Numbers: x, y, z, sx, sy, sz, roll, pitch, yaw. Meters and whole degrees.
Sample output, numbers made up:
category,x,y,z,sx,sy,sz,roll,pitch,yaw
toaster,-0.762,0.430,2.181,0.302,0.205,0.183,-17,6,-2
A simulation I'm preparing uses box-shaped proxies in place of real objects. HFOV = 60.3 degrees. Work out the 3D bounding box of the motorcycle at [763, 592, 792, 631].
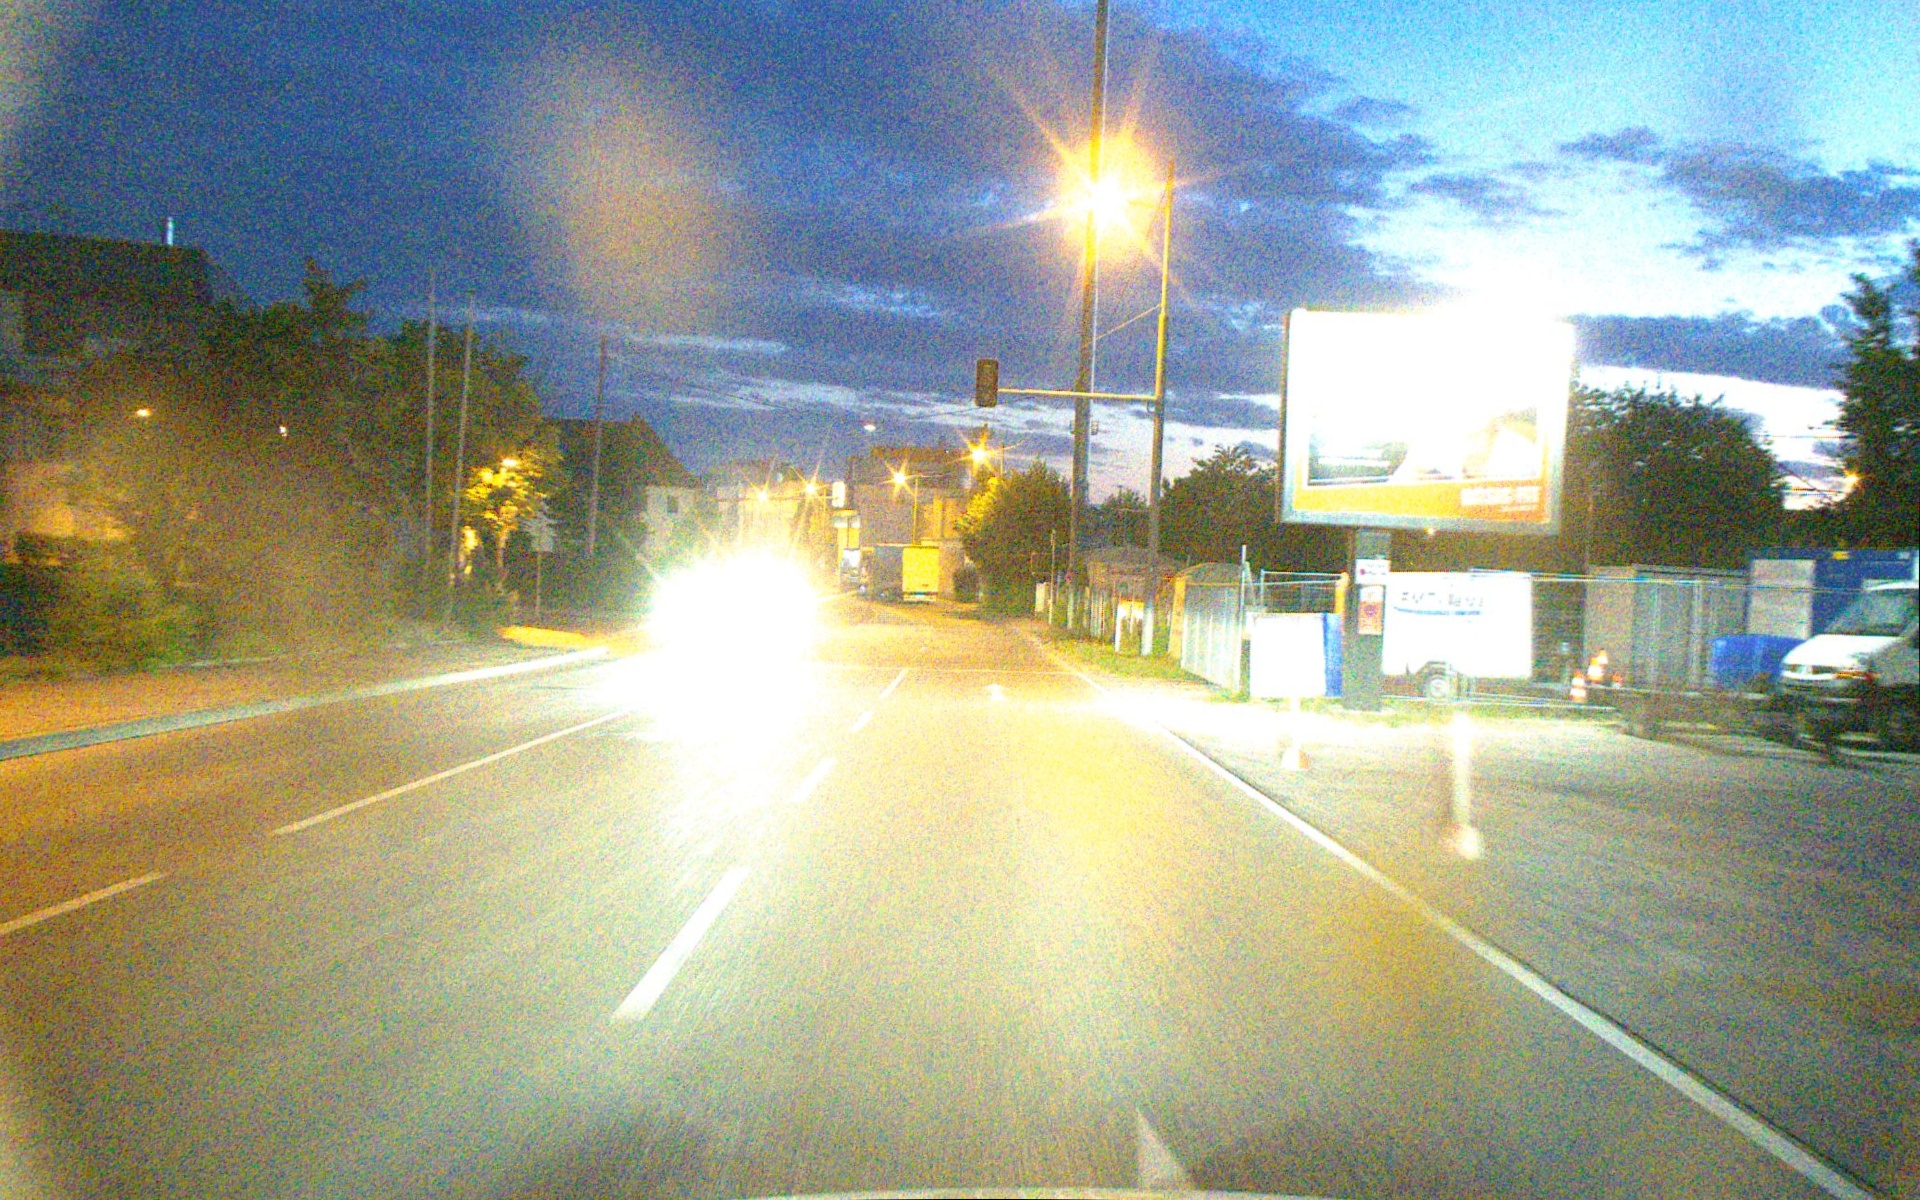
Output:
category,x,y,z,sx,sy,sz,roll,pitch,yaw
motorcycle,-6.588,0.407,59.704,0.978,1.327,2.823,2,0,-6

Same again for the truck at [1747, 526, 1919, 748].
category,x,y,z,sx,sy,sz,roll,pitch,yaw
truck,13.450,0.535,21.270,5.419,2.645,2.472,2,0,-2

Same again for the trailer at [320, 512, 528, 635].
category,x,y,z,sx,sy,sz,roll,pitch,yaw
trailer,-12.639,-0.630,39.195,4.260,2.767,2.000,1,1,-1

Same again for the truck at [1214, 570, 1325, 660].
category,x,y,z,sx,sy,sz,roll,pitch,yaw
truck,9.498,0.399,51.457,2.138,2.465,7.317,3,1,1

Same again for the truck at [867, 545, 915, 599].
category,x,y,z,sx,sy,sz,roll,pitch,yaw
truck,-5.362,-2.171,127.862,2.779,4.052,6.035,1,1,-11

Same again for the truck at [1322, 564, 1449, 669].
category,x,y,z,sx,sy,sz,roll,pitch,yaw
truck,12.587,0.432,49.473,2.138,2.796,7.319,3,0,3

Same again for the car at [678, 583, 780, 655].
category,x,y,z,sx,sy,sz,roll,pitch,yaw
car,-5.795,0.439,42.012,1.953,1.655,4.751,2,0,-1

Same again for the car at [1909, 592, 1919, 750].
category,x,y,z,sx,sy,sz,roll,pitch,yaw
car,13.822,0.949,18.689,4.968,1.868,1.990,2,0,2

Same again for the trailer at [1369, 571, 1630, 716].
category,x,y,z,sx,sy,sz,roll,pitch,yaw
trailer,8.338,0.614,25.569,3.671,2.048,1.614,1,1,24

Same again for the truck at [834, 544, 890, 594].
category,x,y,z,sx,sy,sz,roll,pitch,yaw
truck,-8.262,-2.616,138.243,2.782,4.052,10.306,1,1,-14

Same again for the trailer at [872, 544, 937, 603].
category,x,y,z,sx,sy,sz,roll,pitch,yaw
trailer,-4.188,-2.014,121.484,2.758,4.052,13.942,1,1,-10

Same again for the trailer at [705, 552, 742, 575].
category,x,y,z,sx,sy,sz,roll,pitch,yaw
trailer,-30.538,-4.716,213.146,3.133,2.796,10.667,1,1,-17

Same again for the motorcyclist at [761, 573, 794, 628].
category,x,y,z,sx,sy,sz,roll,pitch,yaw
motorcyclist,-6.570,0.003,59.609,1.112,1.933,0.832,2,0,-7

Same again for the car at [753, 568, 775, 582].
category,x,y,z,sx,sy,sz,roll,pitch,yaw
car,-21.974,-2.783,185.216,1.823,1.545,3.802,1,1,-16

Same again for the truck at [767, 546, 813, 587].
category,x,y,z,sx,sy,sz,roll,pitch,yaw
truck,-17.582,-3.484,170.617,3.460,4.052,10.309,1,1,-13

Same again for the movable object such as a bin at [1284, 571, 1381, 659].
category,x,y,z,sx,sy,sz,roll,pitch,yaw
movable object such as a bin,12.697,0.476,56.603,2.183,2.772,3.864,3,1,-2

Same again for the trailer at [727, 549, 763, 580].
category,x,y,z,sx,sy,sz,roll,pitch,yaw
trailer,-25.750,-4.239,197.624,2.646,3.524,7.767,2,1,-19
